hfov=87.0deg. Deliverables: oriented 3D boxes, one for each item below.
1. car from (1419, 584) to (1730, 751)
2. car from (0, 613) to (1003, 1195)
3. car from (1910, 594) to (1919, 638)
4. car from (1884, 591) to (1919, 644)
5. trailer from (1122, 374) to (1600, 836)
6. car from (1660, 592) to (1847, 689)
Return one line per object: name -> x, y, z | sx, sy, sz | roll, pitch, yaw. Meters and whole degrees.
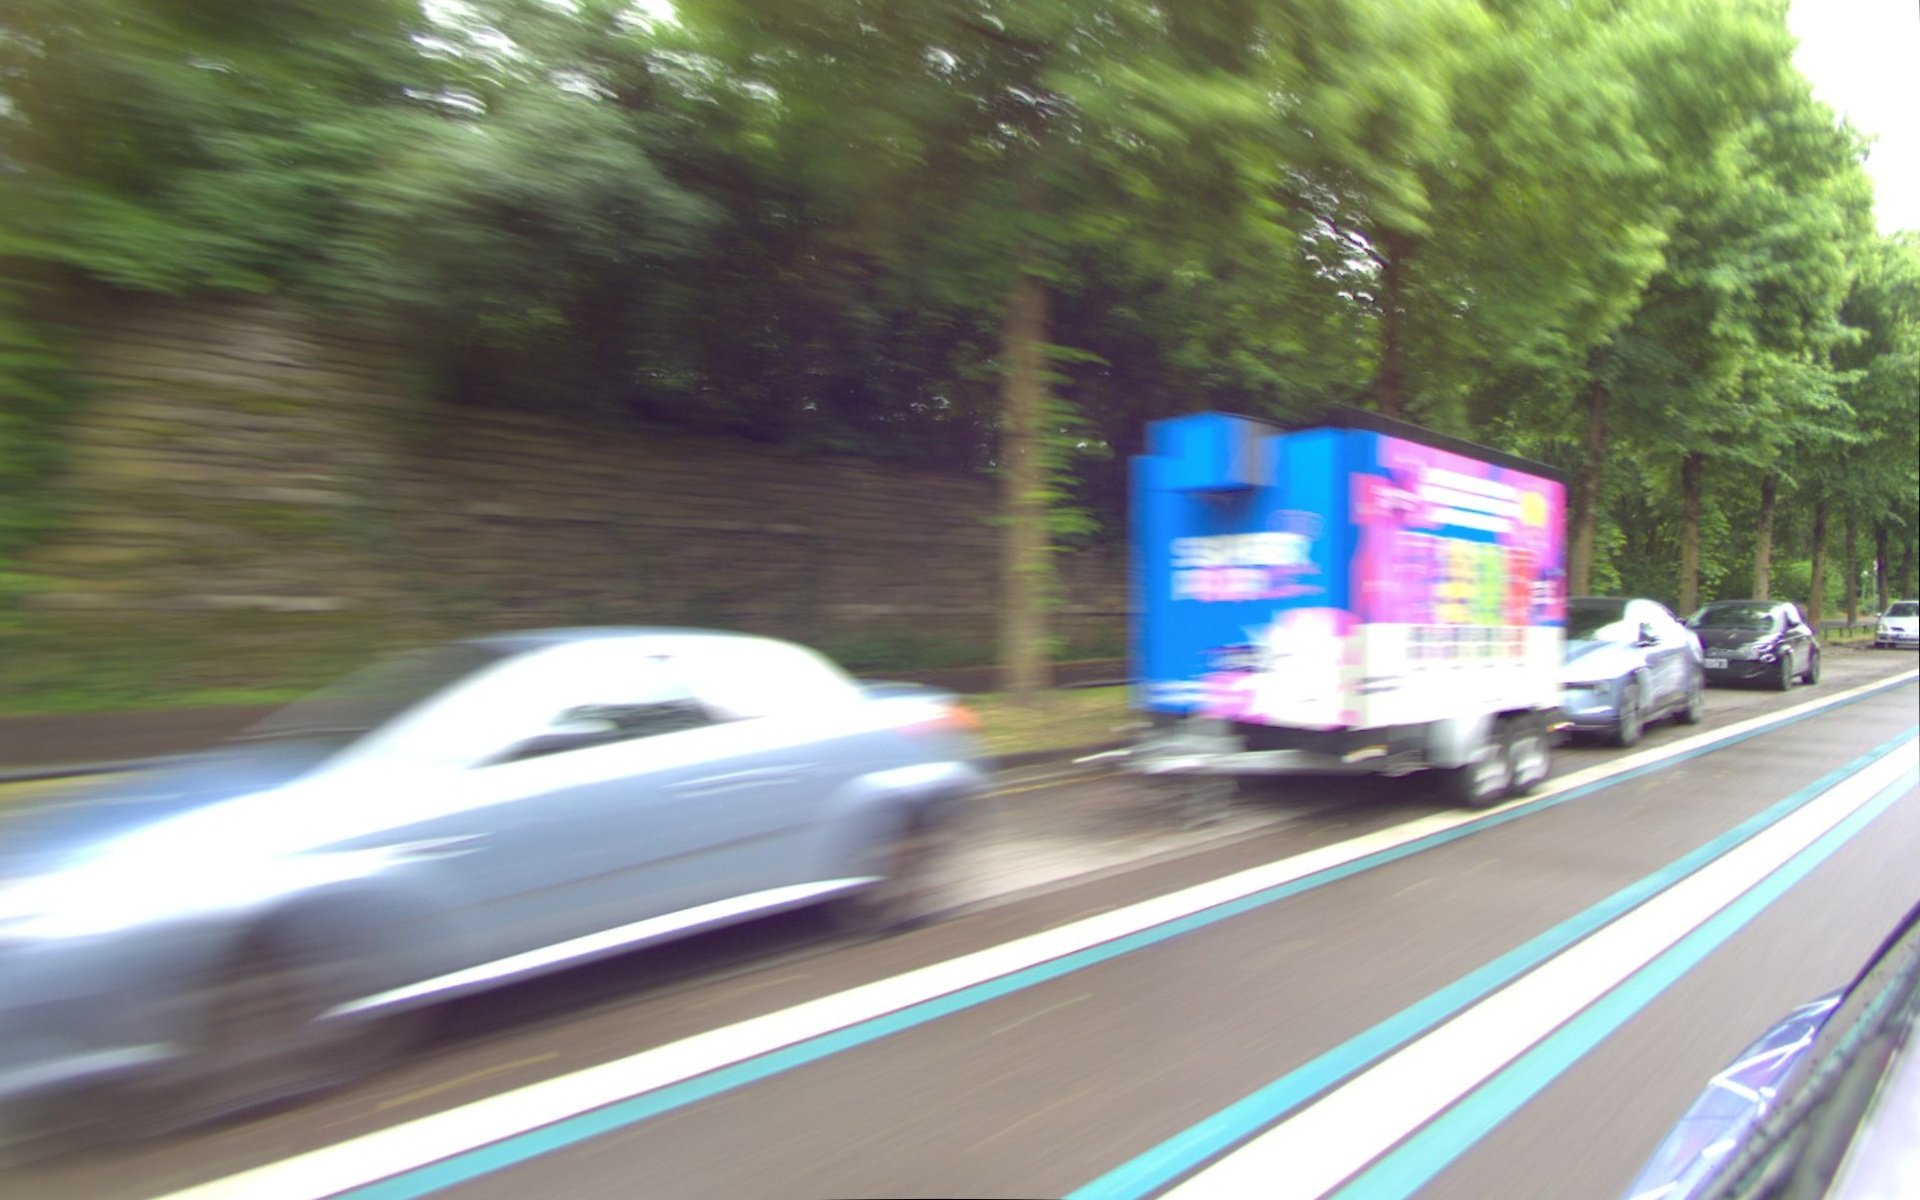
car -> 7.304, 0.619, 11.810 | 4.675, 1.567, 1.902 | 0, 1, -43
car -> -1.720, 0.764, 4.127 | 3.797, 1.370, 1.586 | 0, 0, -43
car -> 35.974, 0.562, 36.642 | 4.388, 1.533, 1.702 | 0, 0, -39
car -> 31.481, 0.540, 32.770 | 4.657, 1.617, 1.756 | 0, 0, -41
trailer -> 3.351, 0.012, 8.144 | 3.936, 2.793, 1.956 | 0, 0, -40
car -> 14.459, 0.639, 18.345 | 4.490, 1.522, 1.829 | 0, 1, -41
